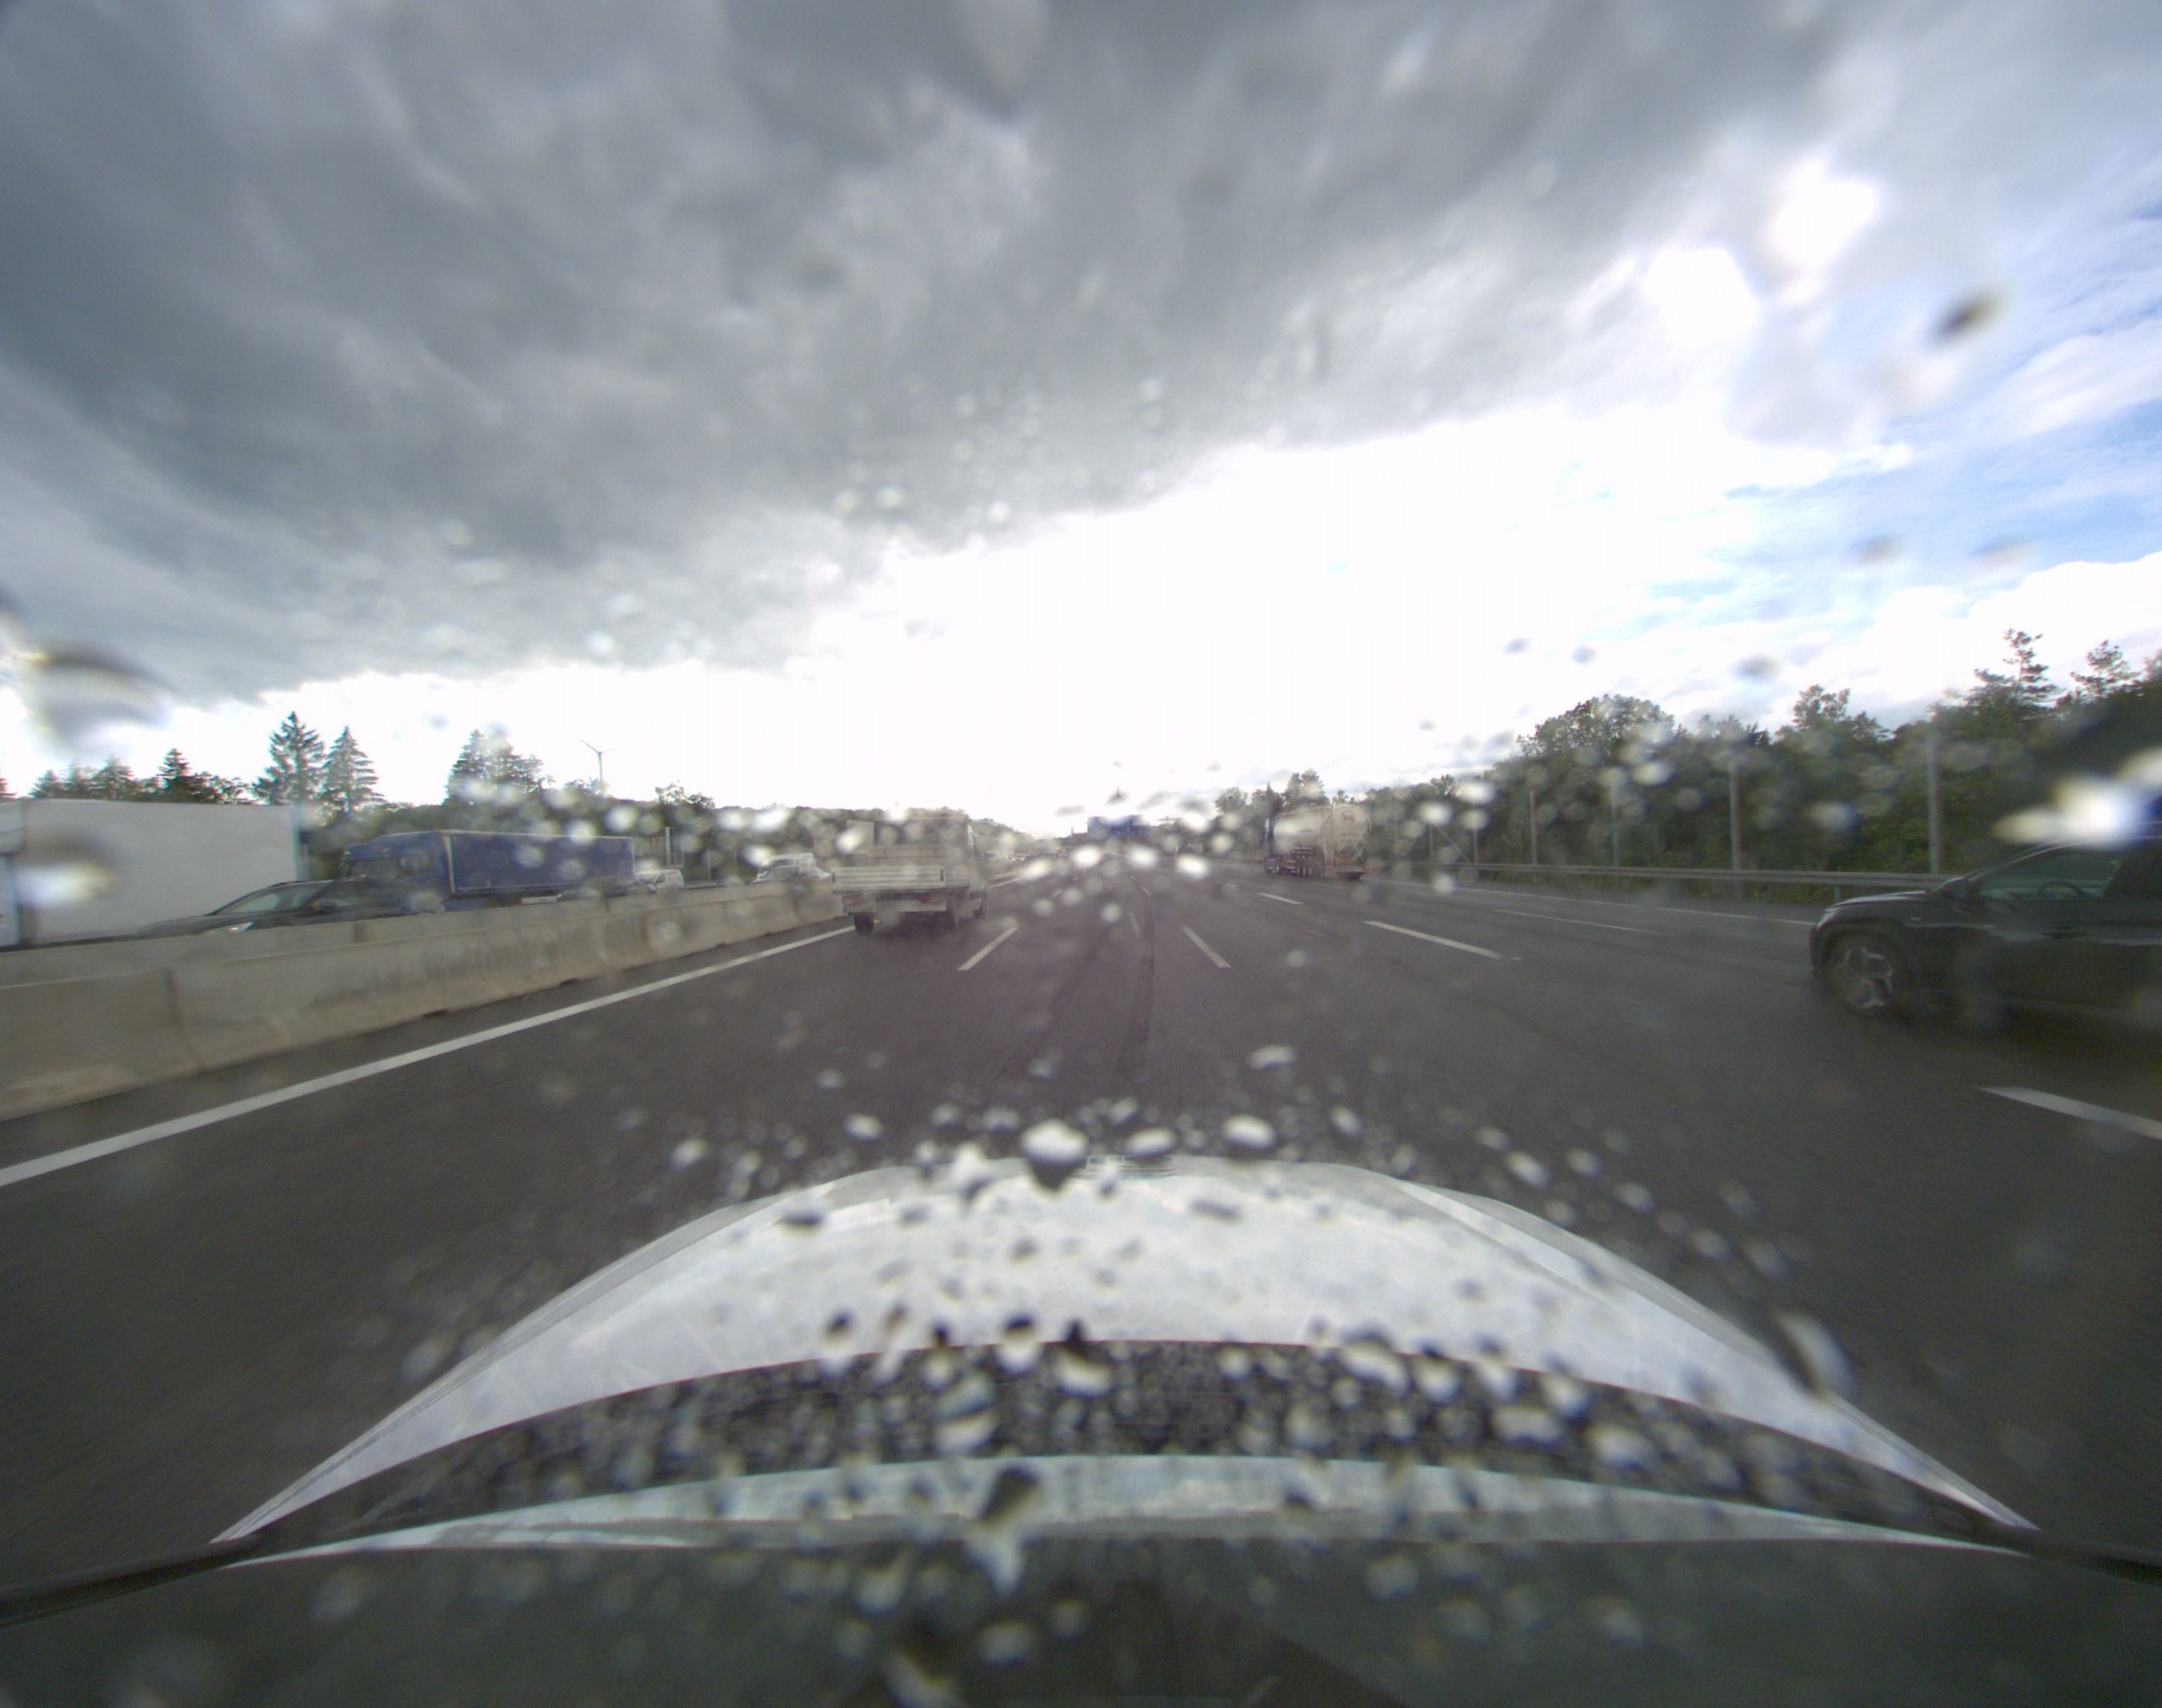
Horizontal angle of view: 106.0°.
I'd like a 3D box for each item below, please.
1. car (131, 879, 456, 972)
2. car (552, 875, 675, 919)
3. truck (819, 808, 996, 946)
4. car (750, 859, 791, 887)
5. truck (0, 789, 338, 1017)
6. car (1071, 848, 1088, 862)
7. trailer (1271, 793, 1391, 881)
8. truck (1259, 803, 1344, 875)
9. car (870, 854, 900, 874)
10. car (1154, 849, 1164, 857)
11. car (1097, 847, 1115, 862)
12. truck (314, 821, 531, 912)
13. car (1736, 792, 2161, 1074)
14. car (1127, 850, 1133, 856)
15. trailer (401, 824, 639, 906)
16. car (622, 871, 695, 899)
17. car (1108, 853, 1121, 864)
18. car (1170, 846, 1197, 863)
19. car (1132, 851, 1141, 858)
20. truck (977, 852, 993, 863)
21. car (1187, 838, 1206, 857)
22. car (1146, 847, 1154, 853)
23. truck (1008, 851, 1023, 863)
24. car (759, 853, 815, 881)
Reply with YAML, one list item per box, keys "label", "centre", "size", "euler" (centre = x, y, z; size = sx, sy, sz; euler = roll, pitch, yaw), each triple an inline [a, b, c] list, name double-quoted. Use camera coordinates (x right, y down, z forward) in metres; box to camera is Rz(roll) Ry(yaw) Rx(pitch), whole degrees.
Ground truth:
- label: "car"
  centre: [-13.344, 1.134, 14.211]
  size: [1.683, 1.234, 4.002]
  euler: [-1, 0, 2]
- label: "car"
  centre: [-20.004, 1.794, 35.202]
  size: [1.906, 1.544, 5.617]
  euler: [-1, 0, 2]
- label: "truck"
  centre: [-3.453, 0.362, 18.090]
  size: [2.345, 2.408, 7.356]
  euler: [-1, 1, 0]
- label: "car"
  centre: [-27.683, 1.643, 72.763]
  size: [1.866, 2.367, 4.324]
  euler: [-1, 0, 2]
- label: "truck"
  centre: [-17.746, 0.775, 14.359]
  size: [2.176, 3.519, 7.494]
  euler: [-1, 0, 2]
- label: "car"
  centre: [-0.201, 0.086, 104.324]
  size: [2.038, 1.699, 4.002]
  euler: [-1, 1, 1]
- label: "trailer"
  centre: [13.376, -0.882, 44.985]
  size: [3.320, 4.175, 11.844]
  euler: [-1, 0, 2]
- label: "truck"
  centre: [13.580, -0.884, 50.912]
  size: [3.320, 4.080, 8.275]
  euler: [-1, 0, 2]
- label: "car"
  centre: [-20.091, 0.992, 83.683]
  size: [1.986, 2.013, 4.002]
  euler: [-1, 0, 2]
- label: "car"
  centre: [18.017, -0.266, 189.078]
  size: [1.986, 1.750, 4.498]
  euler: [-1, 0, 2]
- label: "car"
  centre: [2.896, 0.018, 94.477]
  size: [2.038, 1.699, 4.002]
  euler: [-1, 1, 1]
- label: "truck"
  centre: [-28.672, 0.482, 36.079]
  size: [3.126, 3.582, 7.669]
  euler: [-1, 0, 2]
- label: "car"
  centre: [7.557, 0.473, 5.702]
  size: [2.037, 1.699, 5.008]
  euler: [0, 0, 2]
- label: "car"
  centre: [14.667, -0.344, 244.086]
  size: [1.861, 1.728, 4.002]
  euler: [-1, 0, 2]
- label: "trailer"
  centre: [-28.428, 0.463, 42.633]
  size: [3.126, 3.582, 12.894]
  euler: [-1, 0, 2]
- label: "car"
  centre: [-23.788, 1.706, 46.027]
  size: [1.863, 1.417, 4.040]
  euler: [-1, 0, 2]
- label: "car"
  centre: [5.184, 0.699, 126.162]
  size: [1.850, 1.547, 4.002]
  euler: [-1, 0, 2]
- label: "car"
  centre: [10.559, 0.015, 84.142]
  size: [2.092, 1.699, 3.998]
  euler: [-1, 1, -2]
- label: "car"
  centre: [13.367, 0.136, 196.349]
  size: [2.037, 1.699, 4.003]
  euler: [-1, 1, 3]
- label: "truck"
  centre: [-14.830, 0.542, 126.169]
  size: [1.987, 1.708, 4.313]
  euler: [-1, 0, 0]
- label: "car"
  centre: [15.515, -0.895, 109.772]
  size: [2.038, 2.498, 4.002]
  euler: [-1, 1, 1]
- label: "car"
  centre: [18.825, -1.097, 222.254]
  size: [2.037, 1.699, 4.003]
  euler: [-1, 1, 3]
- label: "truck"
  centre: [-10.464, 0.455, 129.624]
  size: [1.987, 1.708, 4.313]
  euler: [-1, 0, 0]
- label: "car"
  centre: [-20.034, 0.870, 55.703]
  size: [1.863, 1.798, 5.035]
  euler: [-1, 0, 2]
